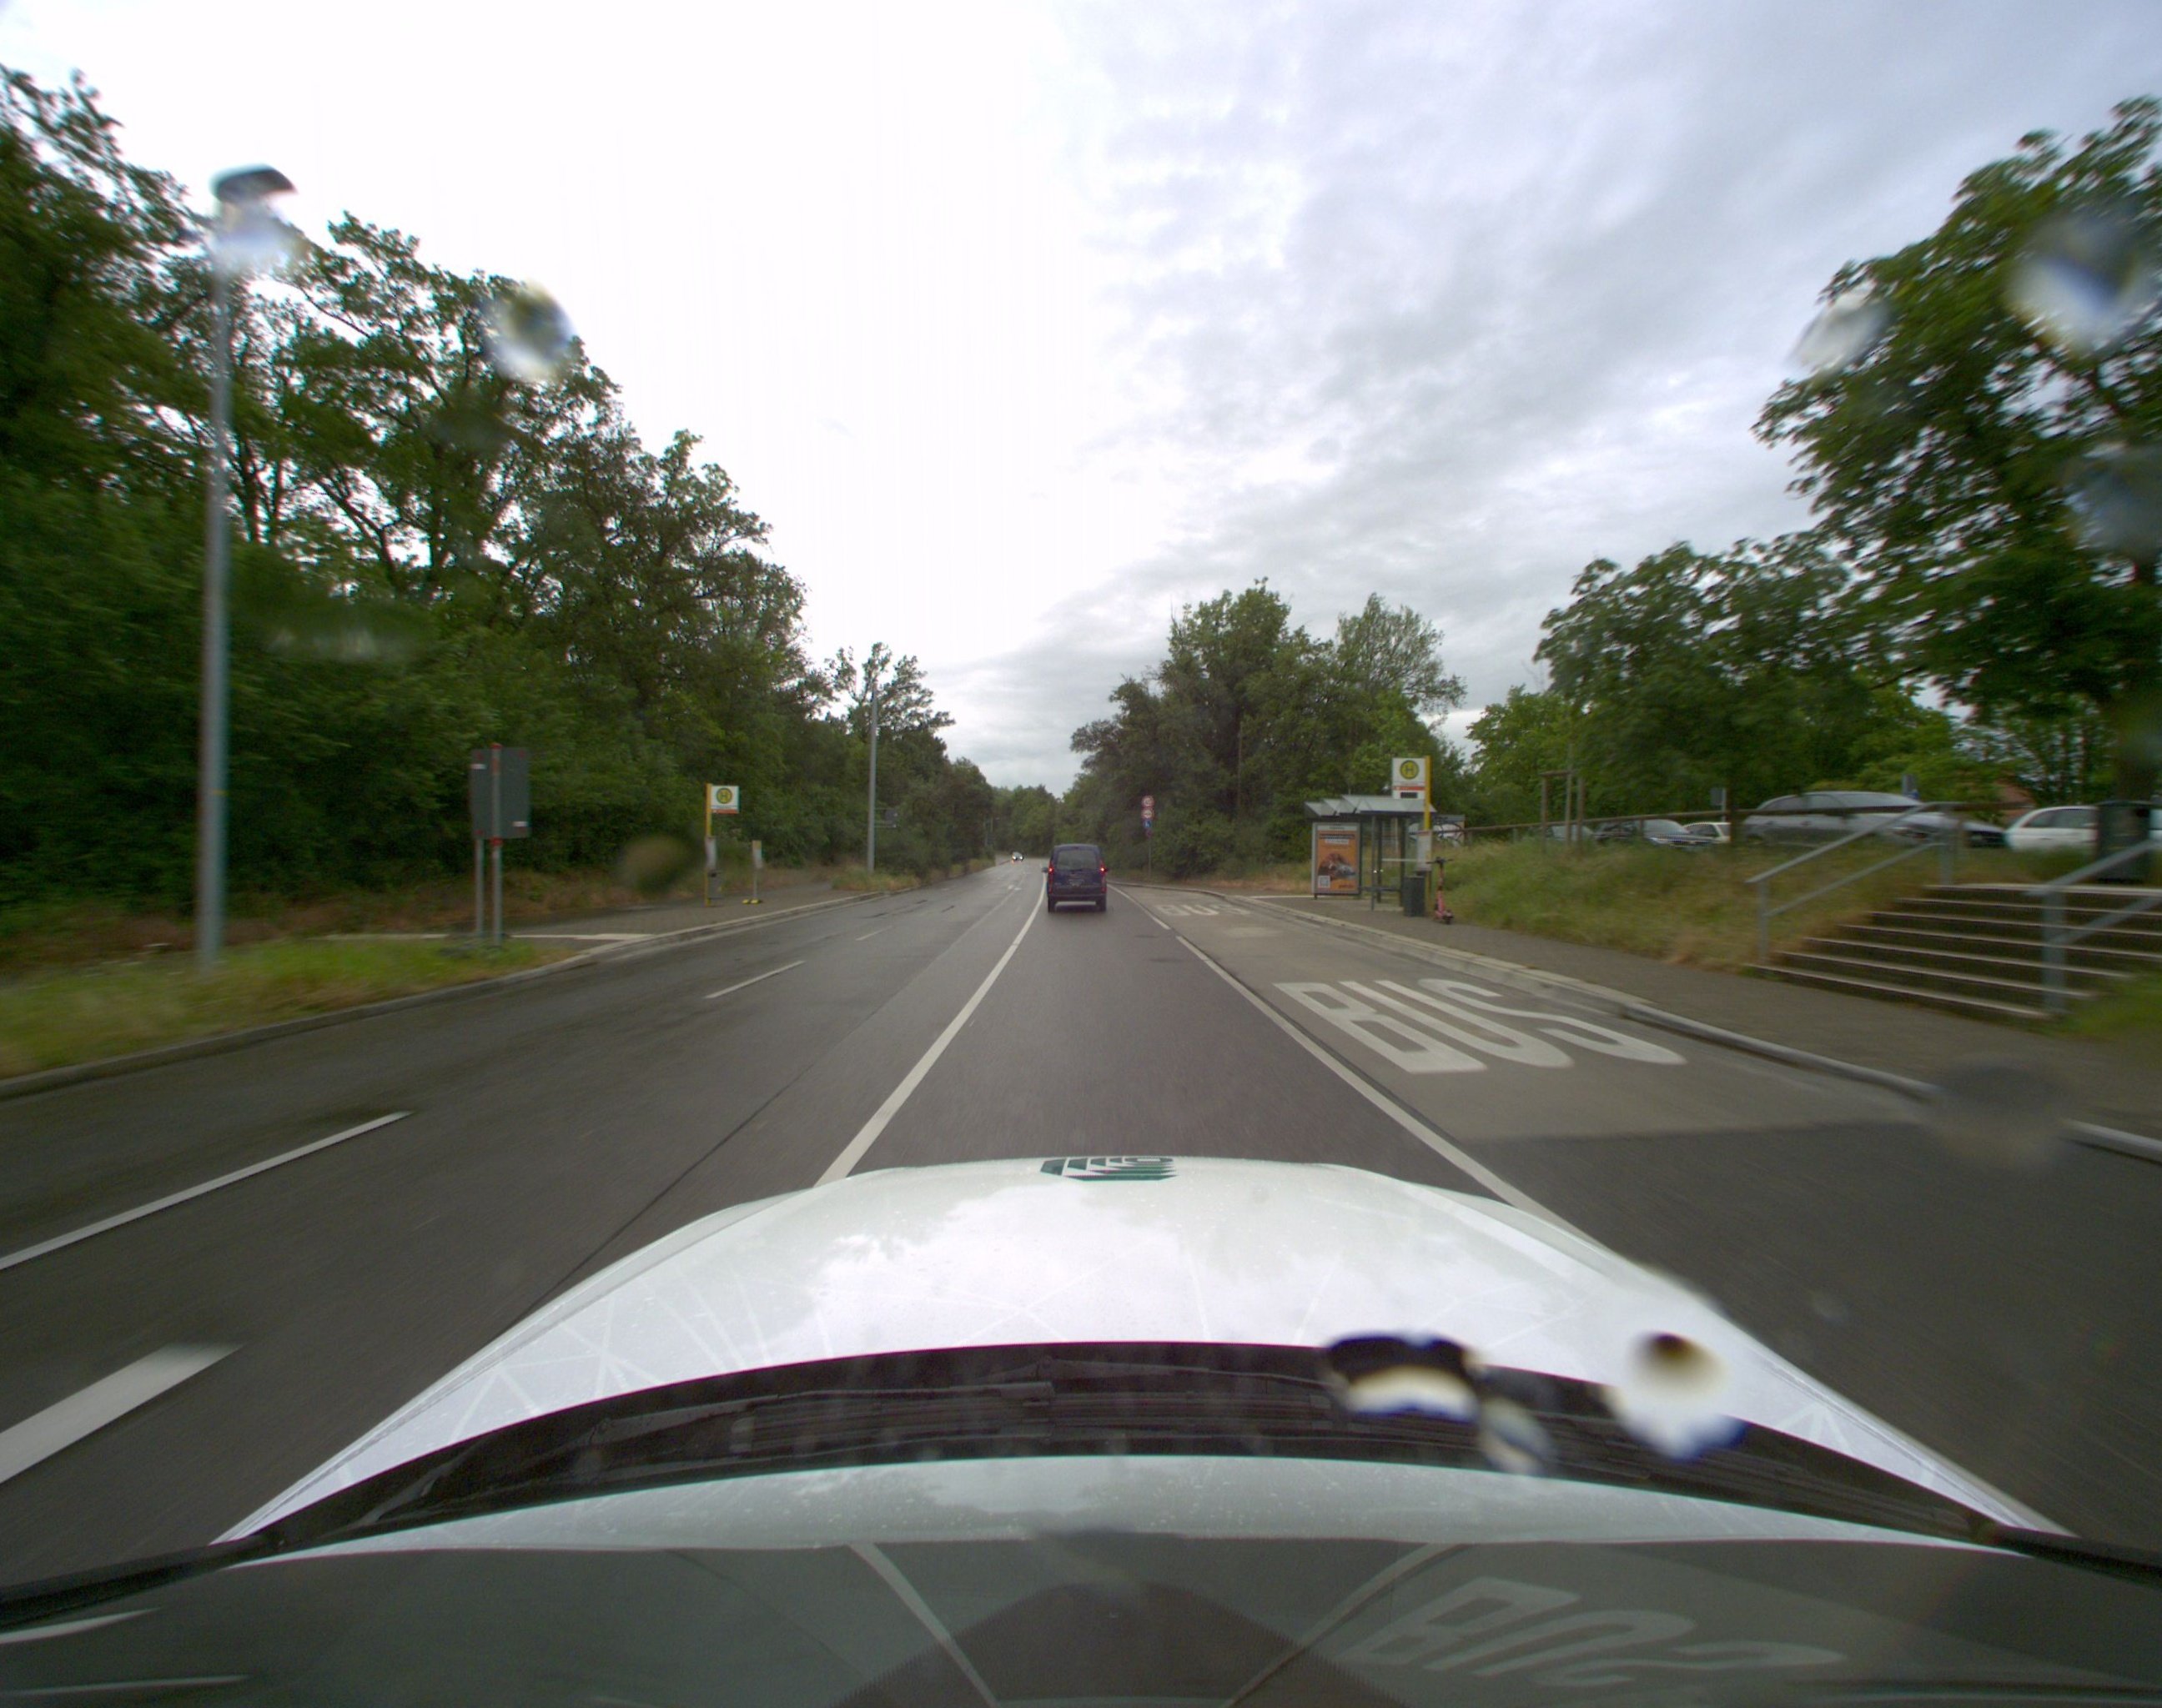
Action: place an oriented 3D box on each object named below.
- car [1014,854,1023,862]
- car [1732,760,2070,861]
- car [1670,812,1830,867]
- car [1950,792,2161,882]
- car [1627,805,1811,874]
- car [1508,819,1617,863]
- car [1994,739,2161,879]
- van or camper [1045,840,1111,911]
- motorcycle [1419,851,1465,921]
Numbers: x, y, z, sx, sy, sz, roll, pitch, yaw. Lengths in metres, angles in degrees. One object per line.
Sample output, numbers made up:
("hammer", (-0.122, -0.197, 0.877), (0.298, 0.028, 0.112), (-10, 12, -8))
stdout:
("car", (-11.376, 0.692, 147.837), (1.595, 1.441, 3.985), (-1, 0, -4))
("car", (14.711, -0.674, 15.051), (1.986, 1.480, 4.286), (3, -1, 2))
("car", (20.521, -0.371, 25.229), (1.876, 1.480, 4.075), (3, -1, 6))
("car", (19.574, -0.251, 15.542), (1.876, 1.480, 4.075), (3, -1, 6))
("car", (18.073, -0.381, 23.402), (1.984, 1.662, 4.479), (3, 0, 5))
("car", (19.014, -0.463, 32.435), (1.876, 1.480, 4.790), (3, -1, 6))
("car", (14.278, -0.532, 9.847), (1.987, 1.662, 4.001), (3, 0, 1))
("van or camper", (-0.153, 0.615, 23.396), (1.708, 1.826, 3.996), (1, -1, -2))
("motorcycle", (6.995, 0.584, 15.840), (0.584, 1.289, 1.544), (0, 0, 15))
